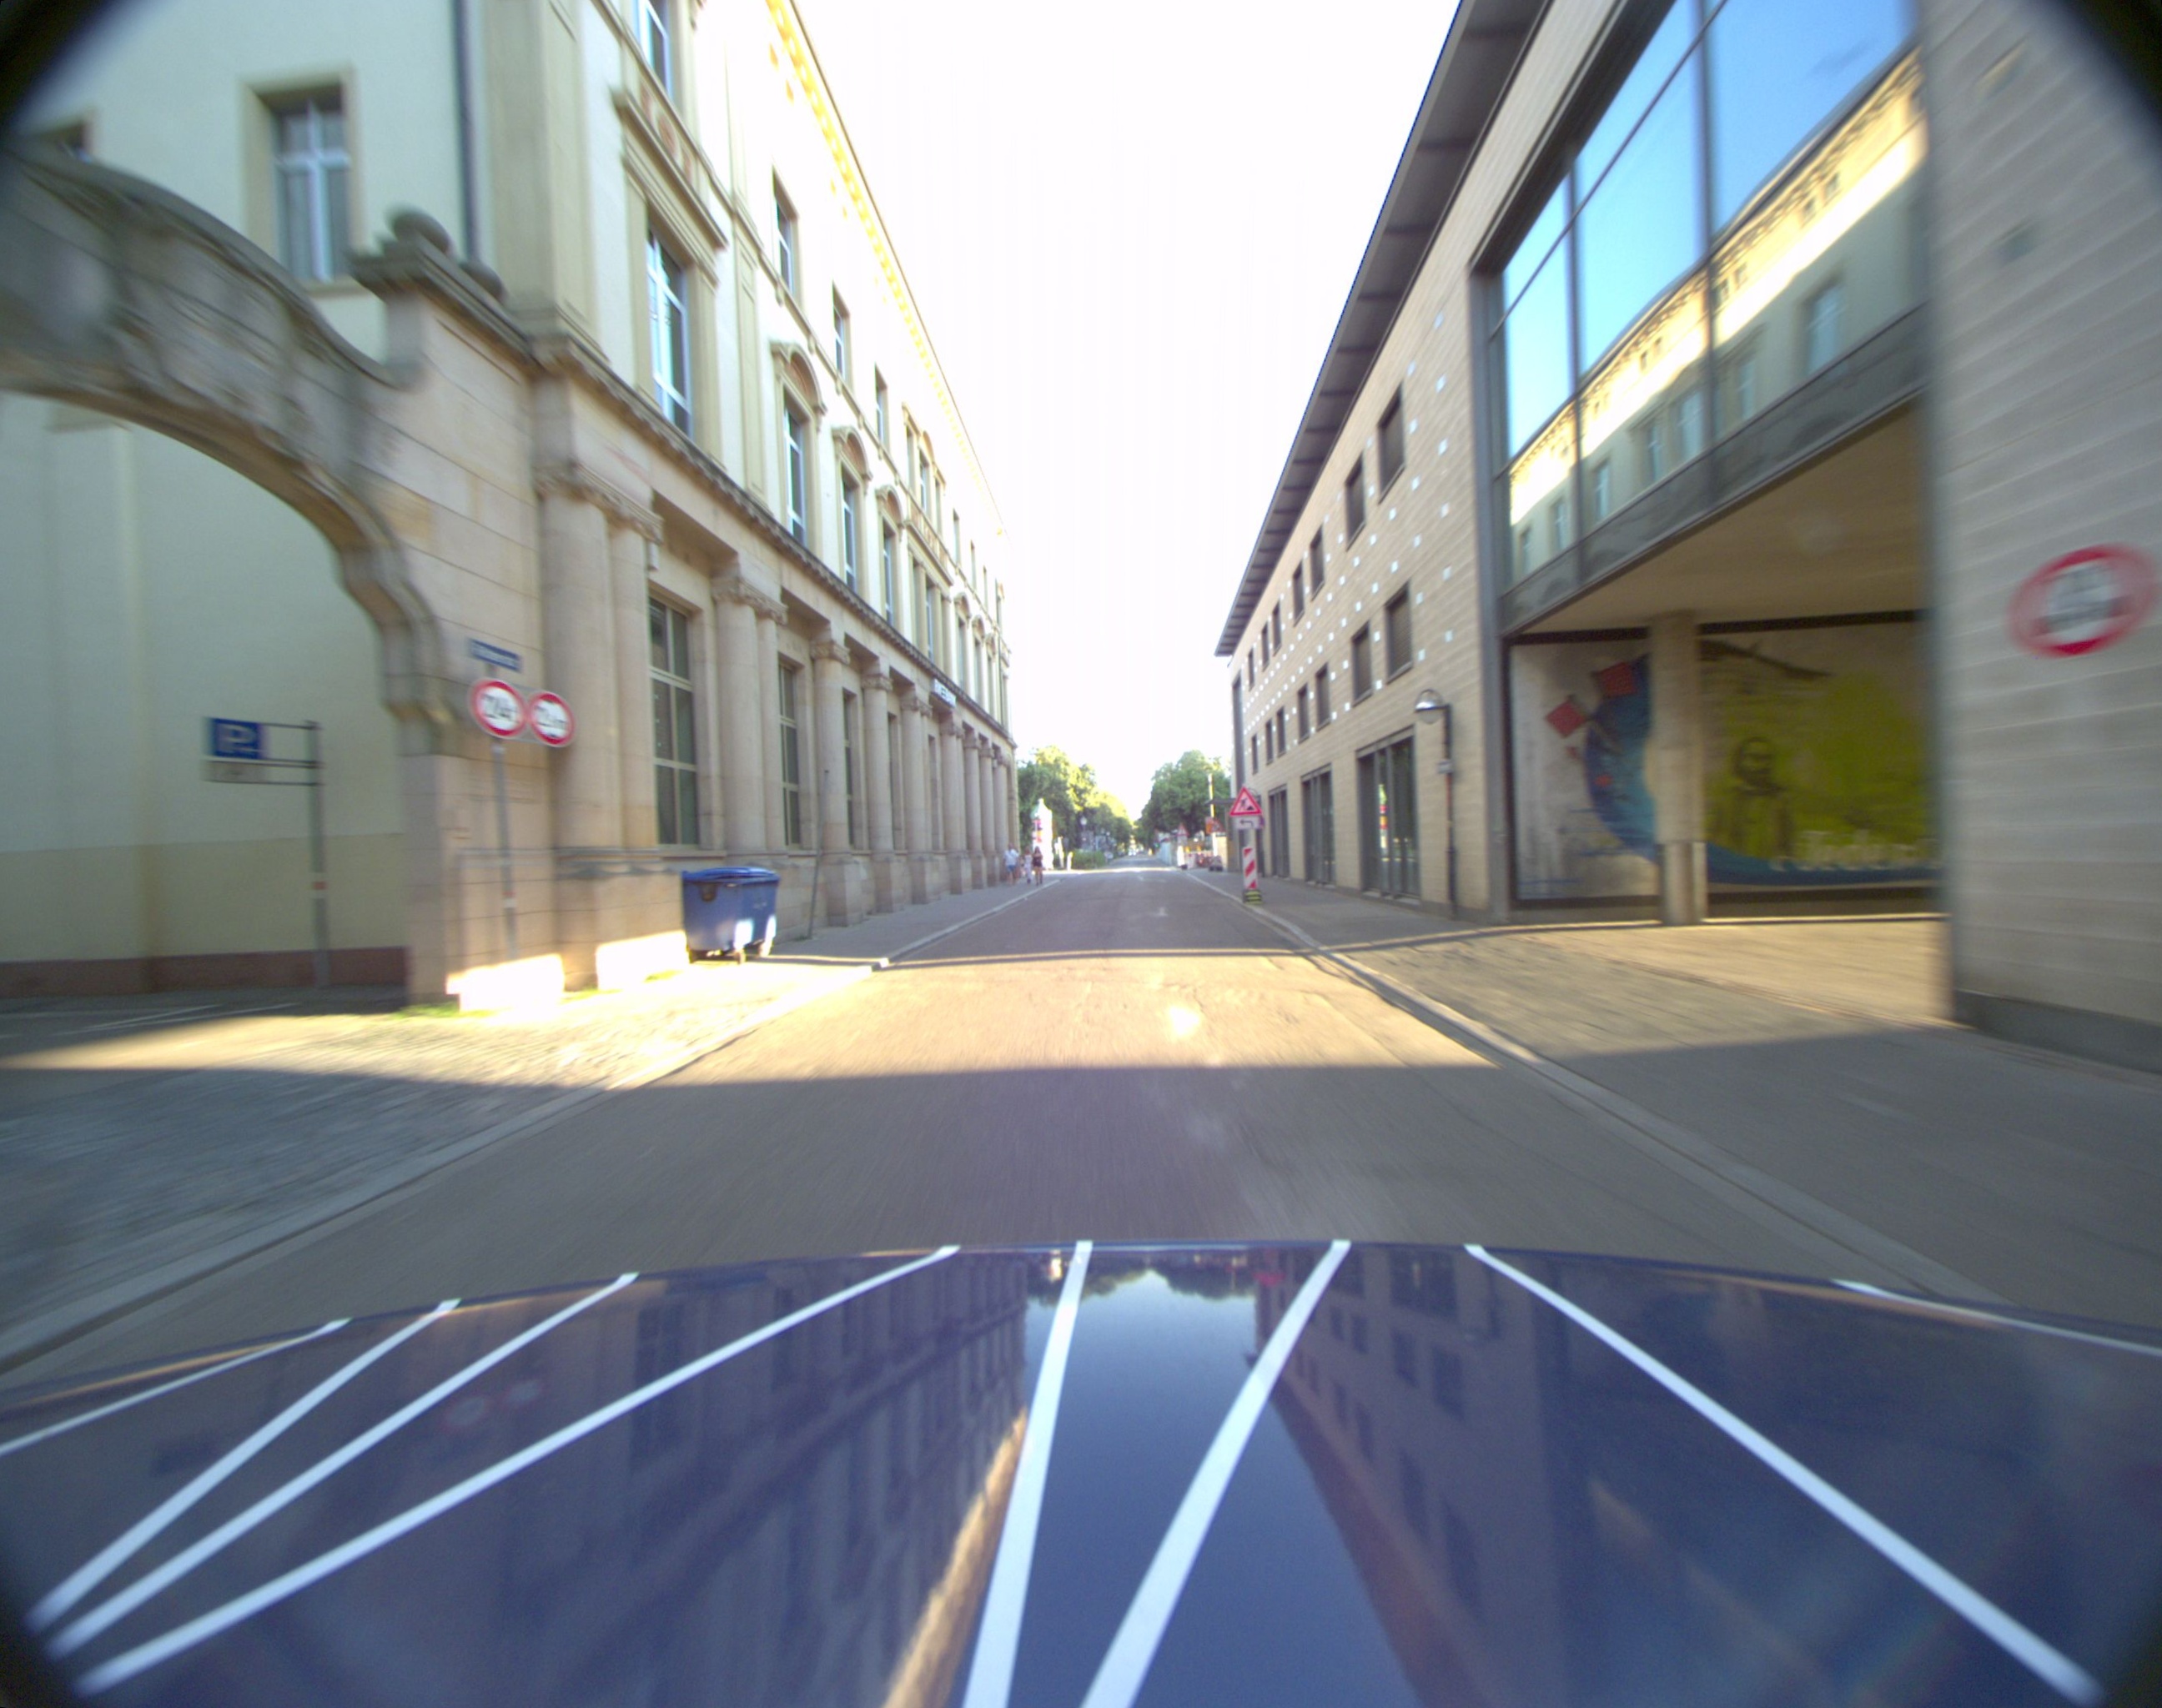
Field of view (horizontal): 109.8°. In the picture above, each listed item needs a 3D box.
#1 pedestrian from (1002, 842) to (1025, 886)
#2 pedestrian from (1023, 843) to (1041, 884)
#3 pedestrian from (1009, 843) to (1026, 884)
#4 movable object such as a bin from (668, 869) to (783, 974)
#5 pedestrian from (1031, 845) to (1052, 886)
[{"bbox_3d":[-2.911,0.417,32.897,0.813,1.864,0.875,-2,1,3],"label":"pedestrian"},{"bbox_3d":[-2.209,0.415,34.263,0.638,1.793,0.772,-2,1,3],"label":"pedestrian"},{"bbox_3d":[-2.869,0.427,34.318,0.638,1.793,0.772,-2,1,3],"label":"pedestrian"},{"bbox_3d":[-5.097,0.934,10.998,0.992,1.384,1.241,-1,1,4],"label":"movable object such as a bin"},{"bbox_3d":[-1.707,0.478,32.971,0.777,1.736,0.875,-2,1,3],"label":"pedestrian"}]
